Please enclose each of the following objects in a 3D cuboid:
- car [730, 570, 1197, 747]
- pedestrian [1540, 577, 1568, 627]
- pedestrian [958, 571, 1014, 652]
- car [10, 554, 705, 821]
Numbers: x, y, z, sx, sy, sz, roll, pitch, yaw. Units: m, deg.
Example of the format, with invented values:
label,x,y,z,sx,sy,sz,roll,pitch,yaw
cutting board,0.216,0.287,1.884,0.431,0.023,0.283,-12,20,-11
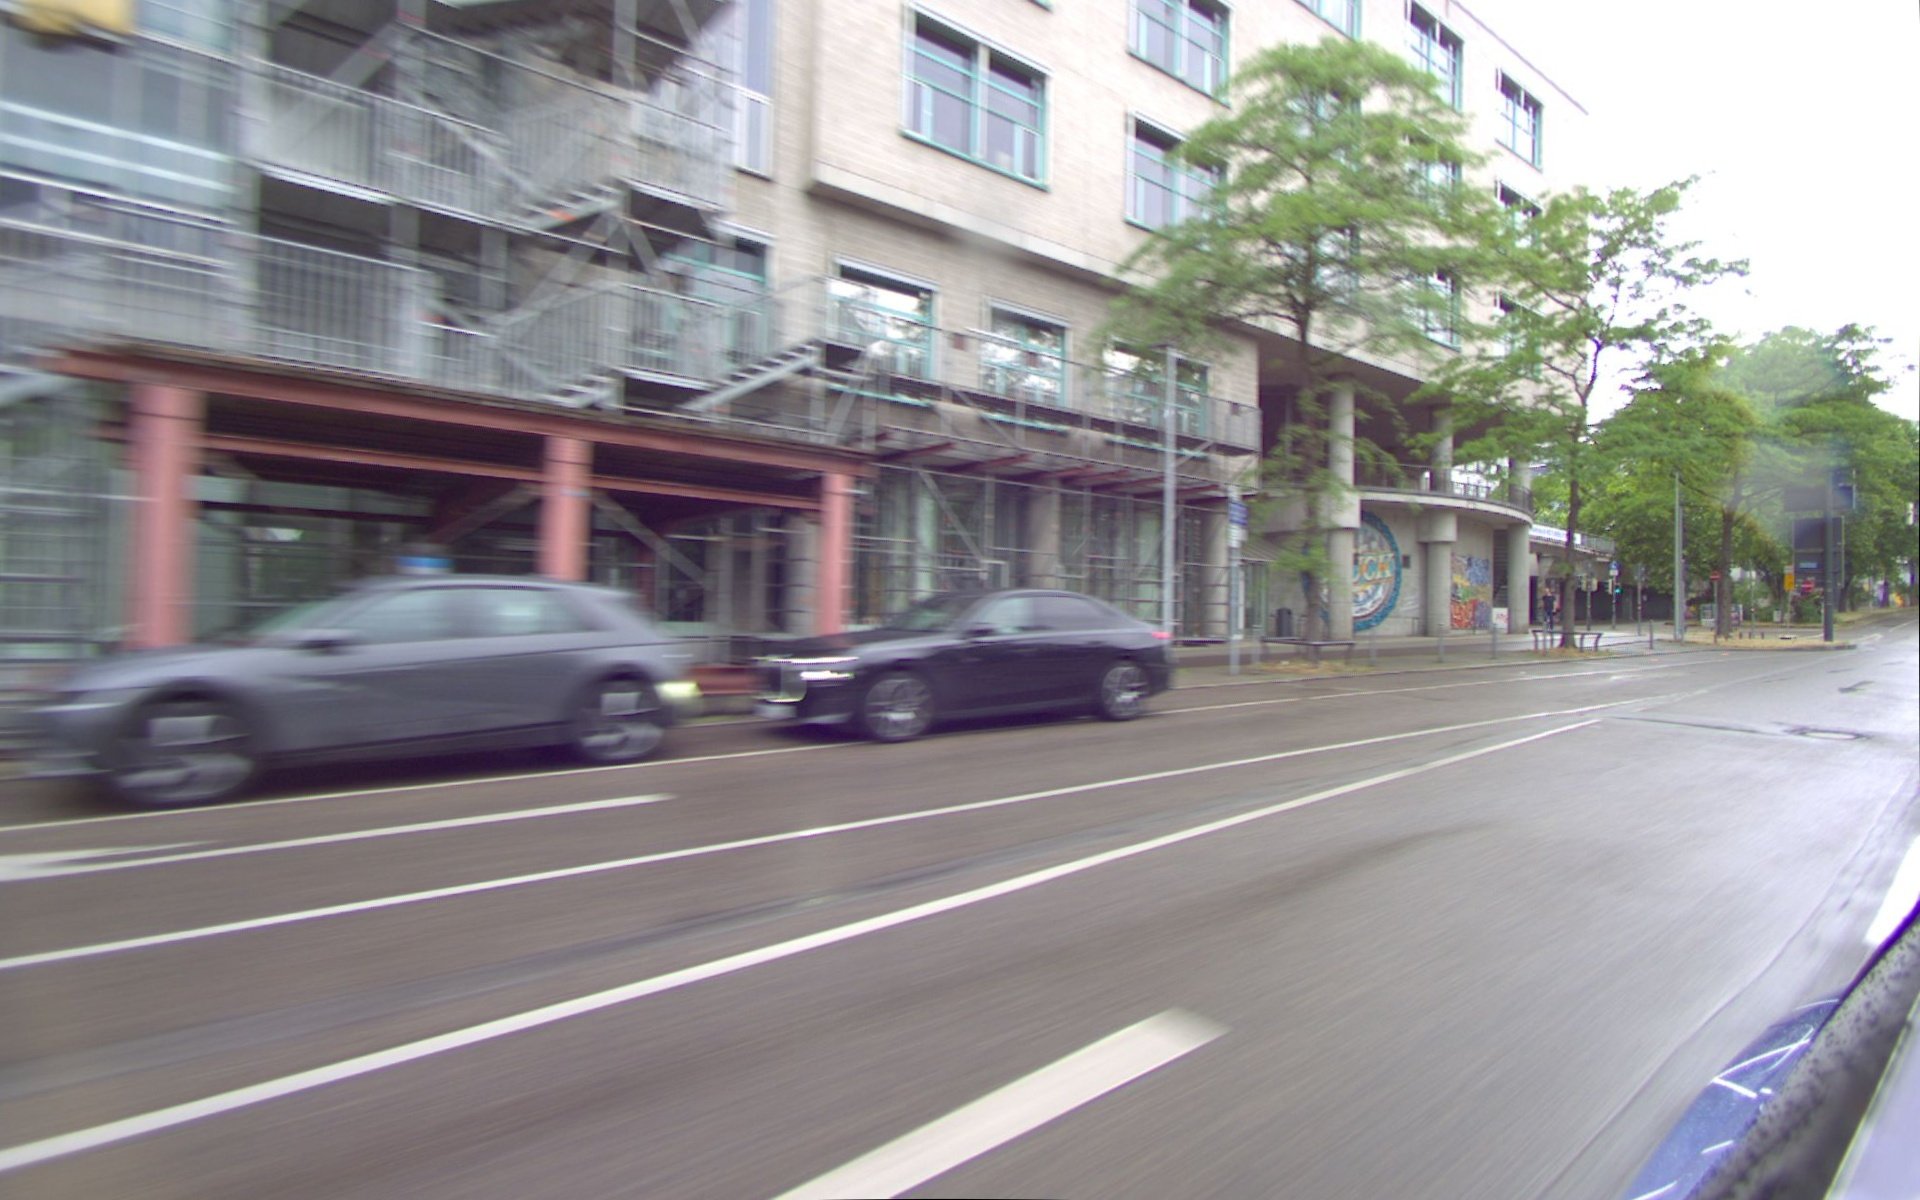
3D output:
label,x,y,z,sx,sy,sz,roll,pitch,yaw
car,0.209,0.526,11.607,5.189,1.621,2.000,0,0,-36
pedestrian,24.895,0.077,42.420,0.745,2.039,0.869,0,0,-43
pedestrian,0.538,0.226,20.911,0.907,1.616,0.705,0,0,-41
car,-4.598,0.523,8.303,4.510,1.621,1.865,0,0,-39
